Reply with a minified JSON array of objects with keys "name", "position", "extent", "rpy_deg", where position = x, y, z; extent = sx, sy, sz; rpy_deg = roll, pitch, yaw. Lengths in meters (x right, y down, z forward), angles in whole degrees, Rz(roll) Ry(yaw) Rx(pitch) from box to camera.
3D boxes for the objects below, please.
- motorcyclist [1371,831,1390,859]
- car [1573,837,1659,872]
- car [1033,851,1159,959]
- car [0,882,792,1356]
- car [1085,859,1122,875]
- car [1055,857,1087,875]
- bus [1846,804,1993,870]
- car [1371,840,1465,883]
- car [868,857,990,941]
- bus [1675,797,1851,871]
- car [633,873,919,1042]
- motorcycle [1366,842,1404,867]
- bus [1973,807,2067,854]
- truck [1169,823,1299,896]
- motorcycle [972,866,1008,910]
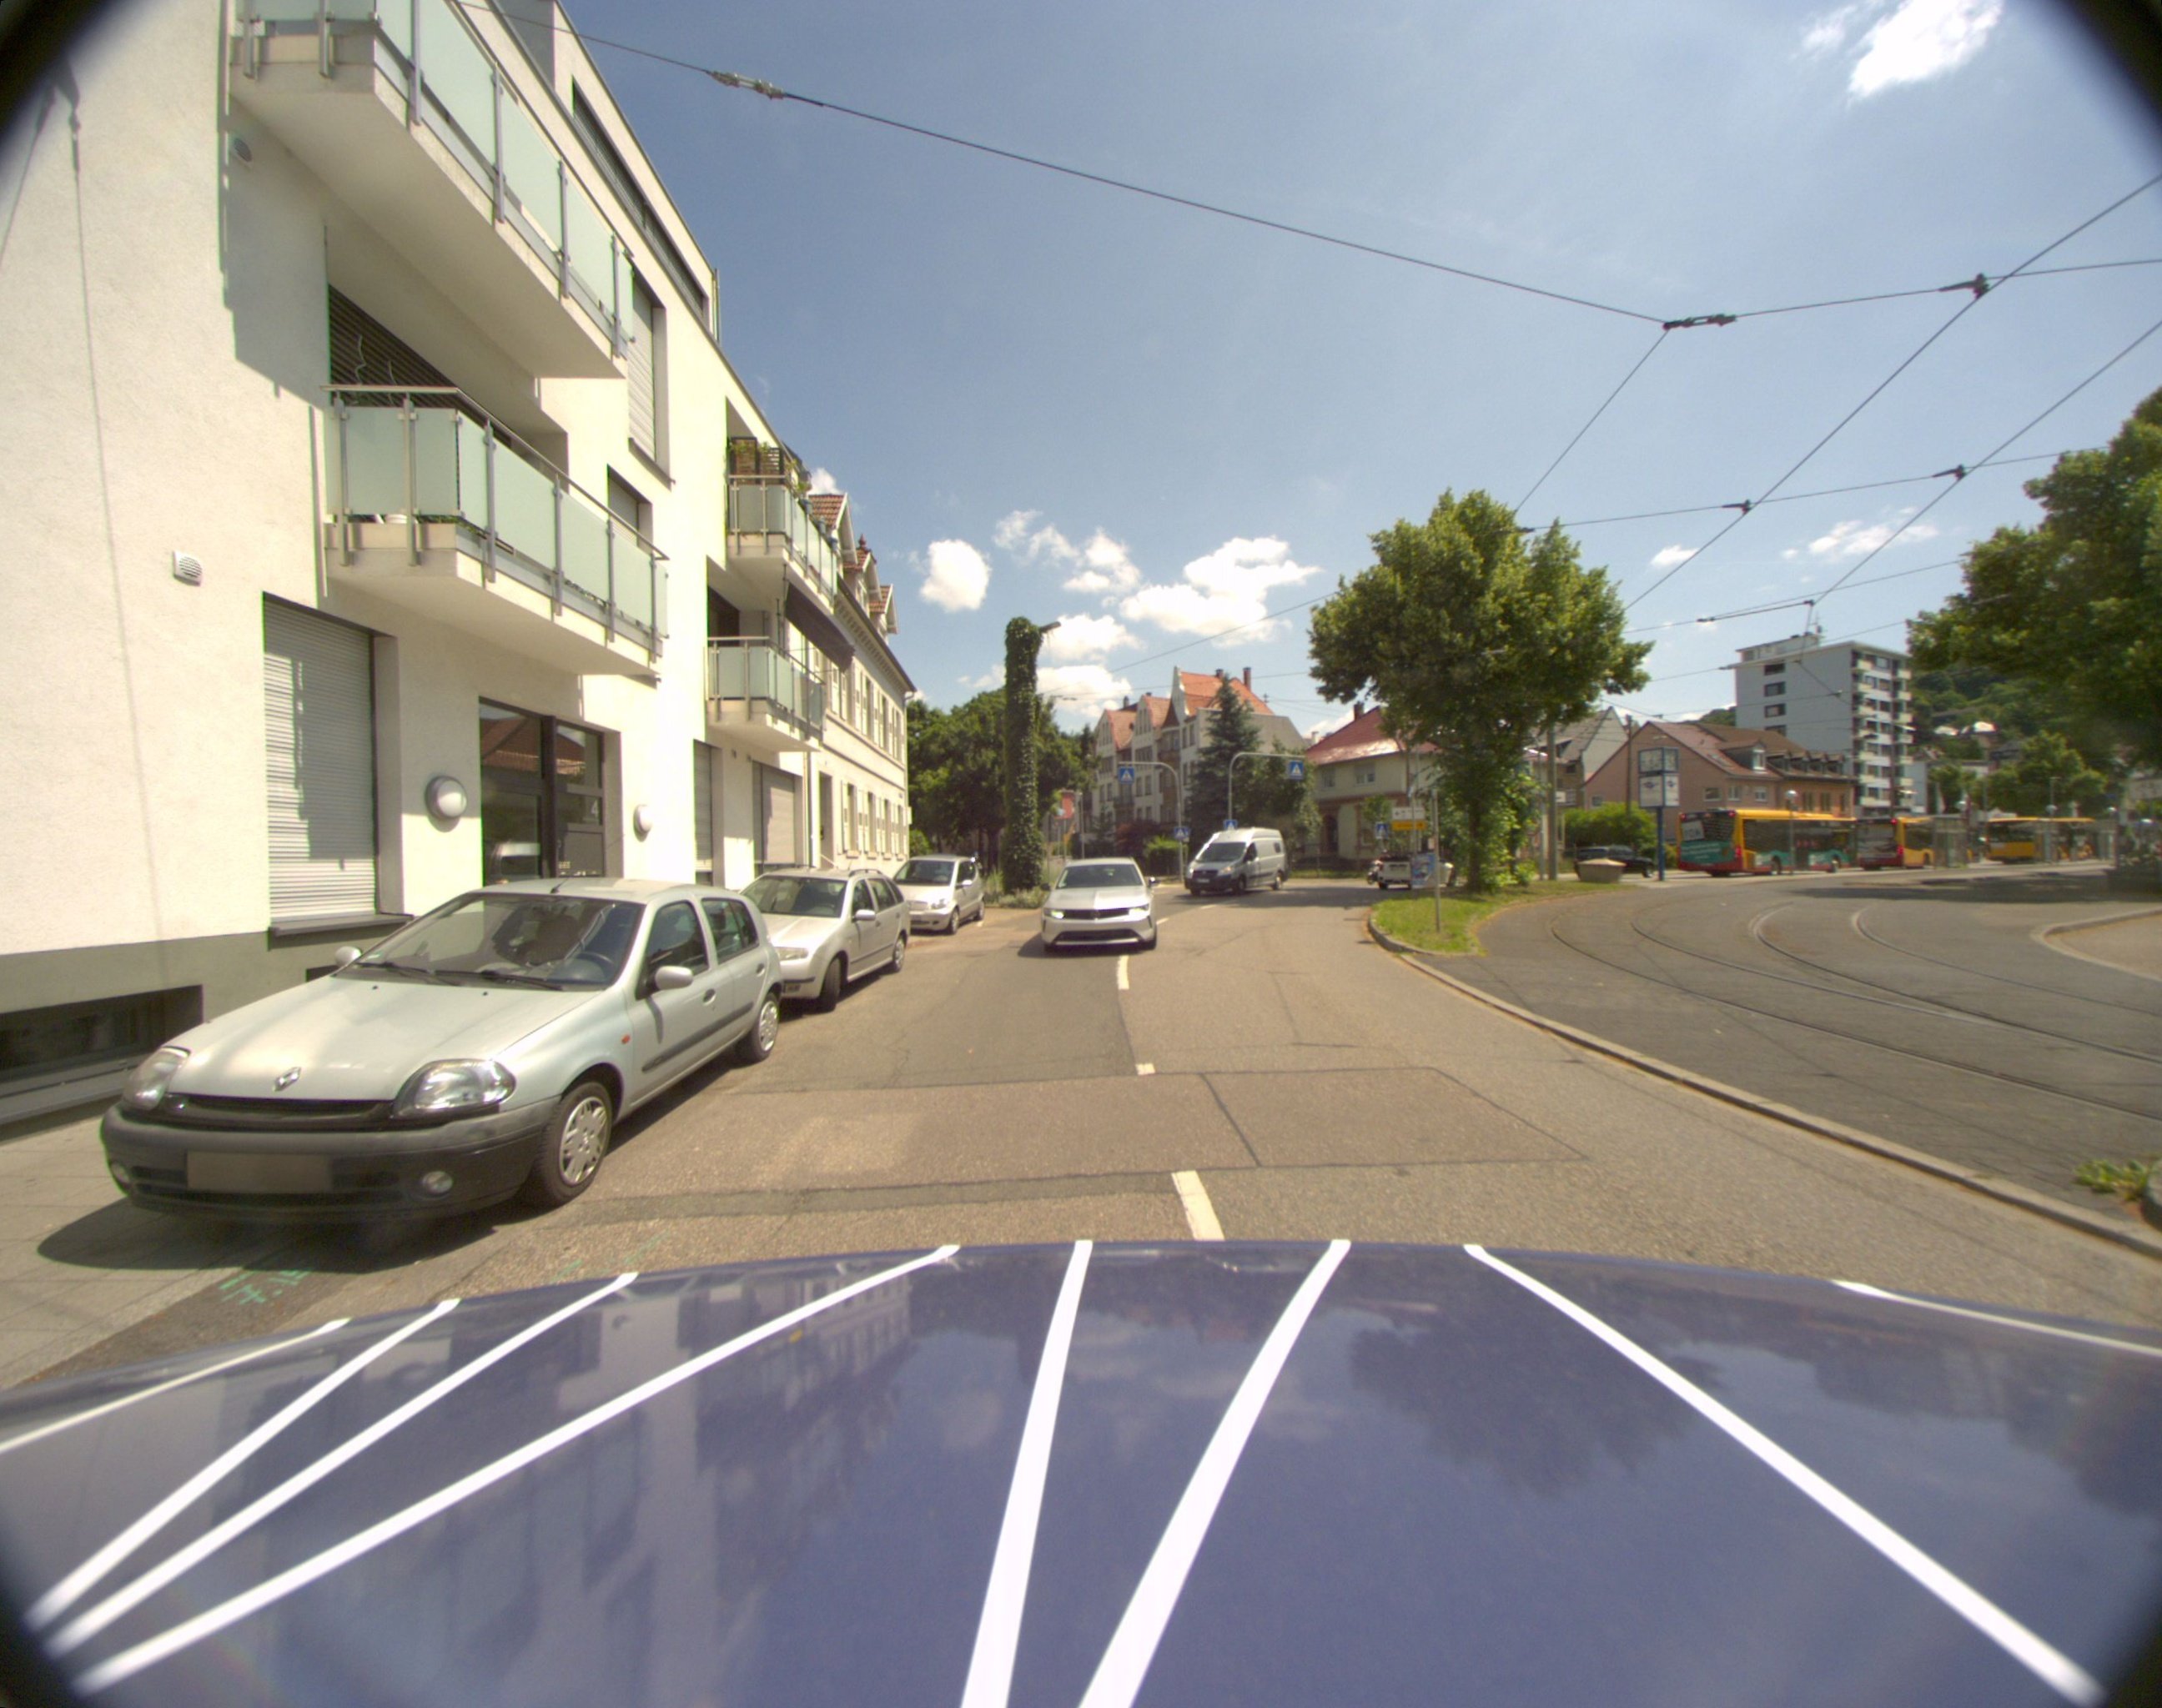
[{"name":"motorcyclist","position":[13.443,-0.408,34.080],"extent":[0.555,1.236,0.540],"rpy_deg":[-2,1,-17]},{"name":"car","position":[26.267,0.024,37.285],"extent":[4.335,1.622,1.858],"rpy_deg":[-1,0,-31]},{"name":"car","position":[0.412,0.742,13.131],"extent":[1.800,1.458,4.172],"rpy_deg":[-2,1,6]},{"name":"car","position":[-3.142,0.984,4.431],"extent":[1.597,1.425,3.705],"rpy_deg":[2,1,-3]},{"name":"car","position":[1.809,1.100,62.990],"extent":[1.820,1.318,3.995],"rpy_deg":[-1,-1,-18]},{"name":"car","position":[-1.007,1.153,72.719],"extent":[1.777,1.506,3.993],"rpy_deg":[4,-2,-20]},{"name":"bus","position":[50.157,-1.026,45.321],"extent":[12.224,3.586,2.691],"rpy_deg":[-1,0,-27]},{"name":"car","position":[12.491,0.242,28.091],"extent":[3.754,1.455,1.774],"rpy_deg":[-2,0,-42]},{"name":"car","position":[-3.276,0.907,17.139],"extent":[1.730,1.602,3.801],"rpy_deg":[1,1,4]},{"name":"bus","position":[33.705,-0.946,37.398],"extent":[10.874,3.277,2.703],"rpy_deg":[-1,-1,-27]},{"name":"car","position":[-3.342,1.032,9.251],"extent":[1.731,1.425,4.042],"rpy_deg":[2,1,1]},{"name":"motorcycle","position":[13.654,0.016,34.140],"extent":[1.437,1.051,0.668],"rpy_deg":[-2,1,-16]},{"name":"bus","position":[69.180,-1.698,55.892],"extent":[10.170,3.170,2.571],"rpy_deg":[-1,0,-29]},{"name":"truck","position":[5.394,0.118,26.193],"extent":[2.016,2.236,5.417],"rpy_deg":[-2,1,39]},{"name":"motorcycle","position":[-2.979,1.089,25.214],"extent":[0.802,1.344,2.338],"rpy_deg":[-2,0,2]}]
